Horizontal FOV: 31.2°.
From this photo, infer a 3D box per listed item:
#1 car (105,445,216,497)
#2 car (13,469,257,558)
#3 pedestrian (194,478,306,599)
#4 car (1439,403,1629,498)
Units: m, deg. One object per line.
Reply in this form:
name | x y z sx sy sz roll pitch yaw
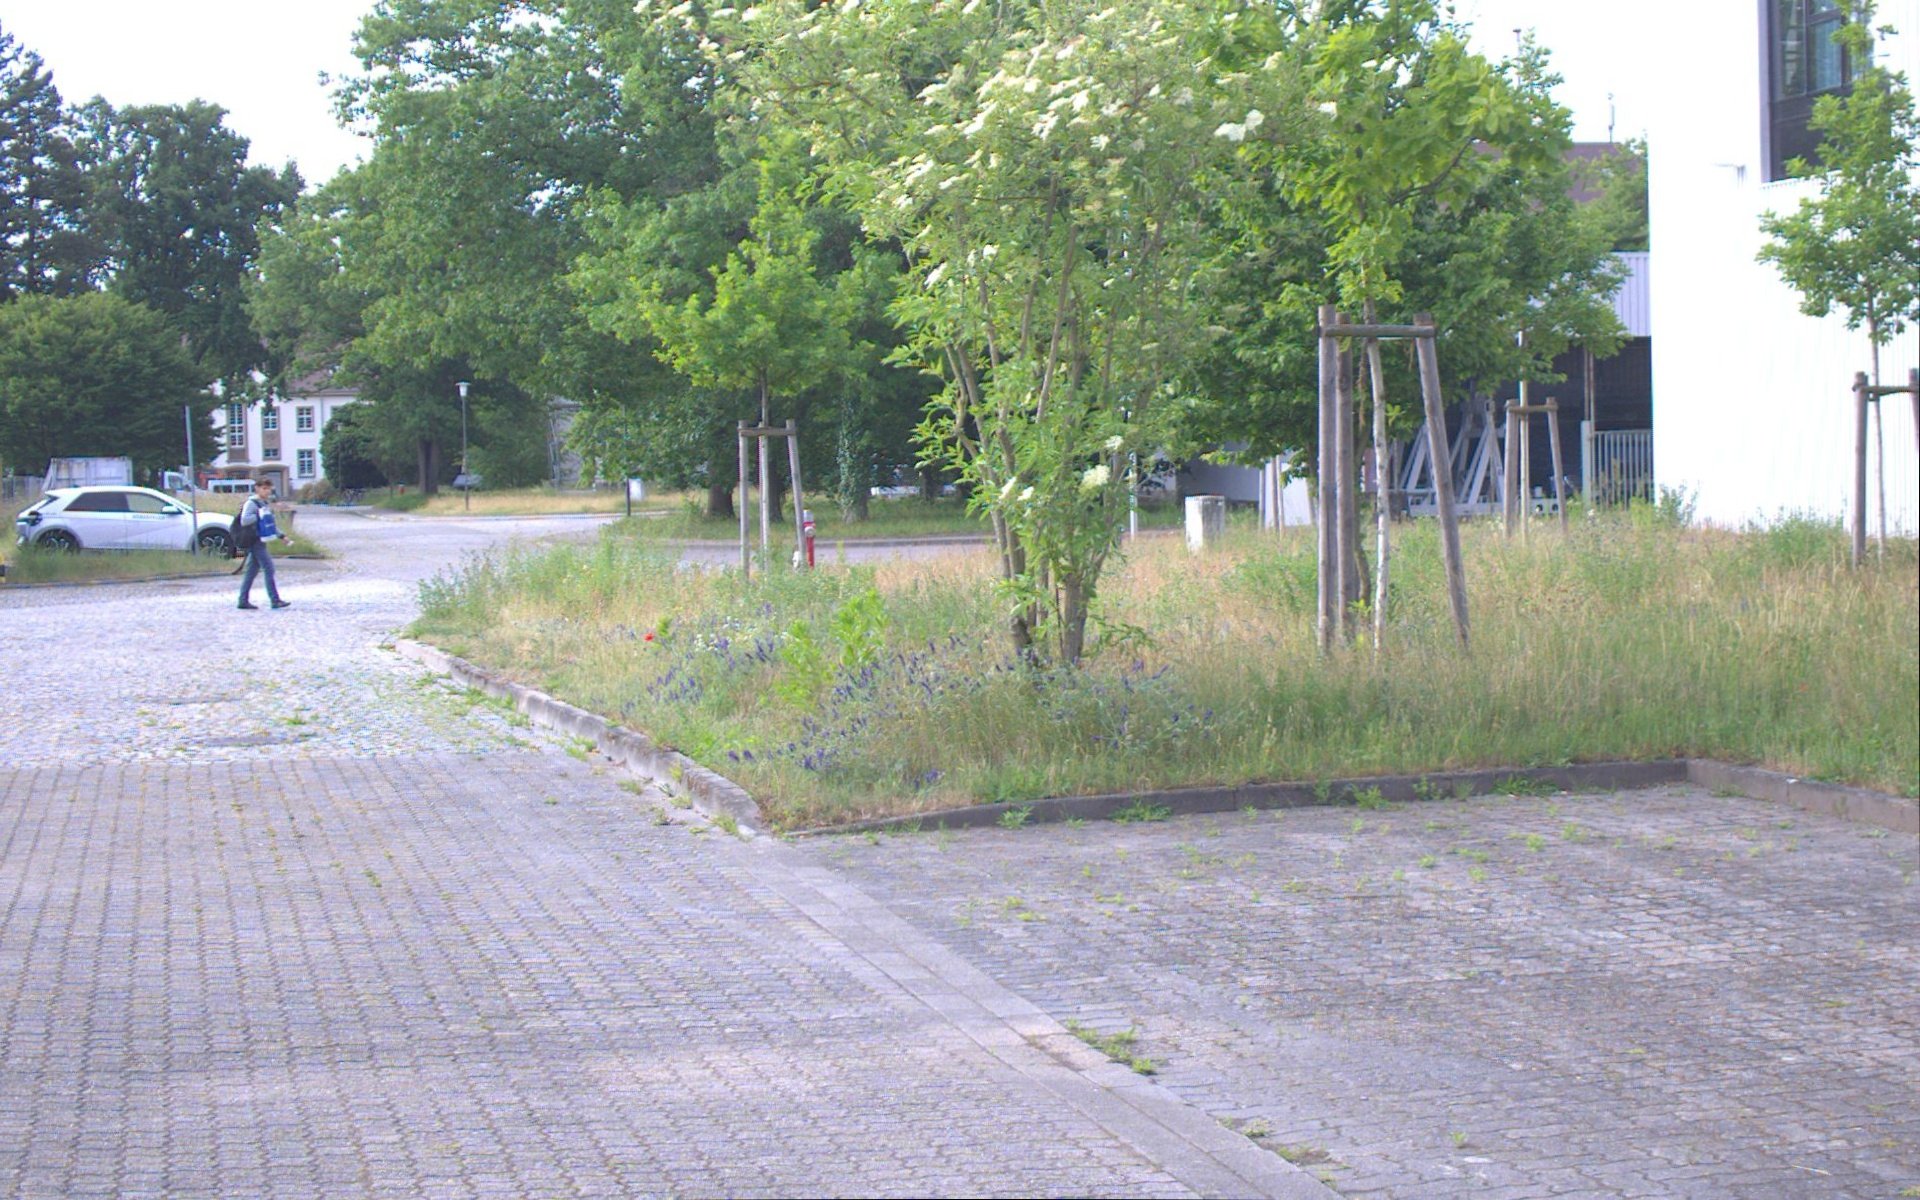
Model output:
car | -38.819 -6.268 167.001 5.169 2.329 2.001 -2 2 -13
car | -16.263 -1.724 68.001 4.533 1.594 2.001 -2 2 -10
pedestrian | -9.417 -0.819 45.648 1.076 1.551 1.074 -1 2 11
car | 12.833 -3.341 77.273 2.241 2.006 5.339 -2 2 -14
